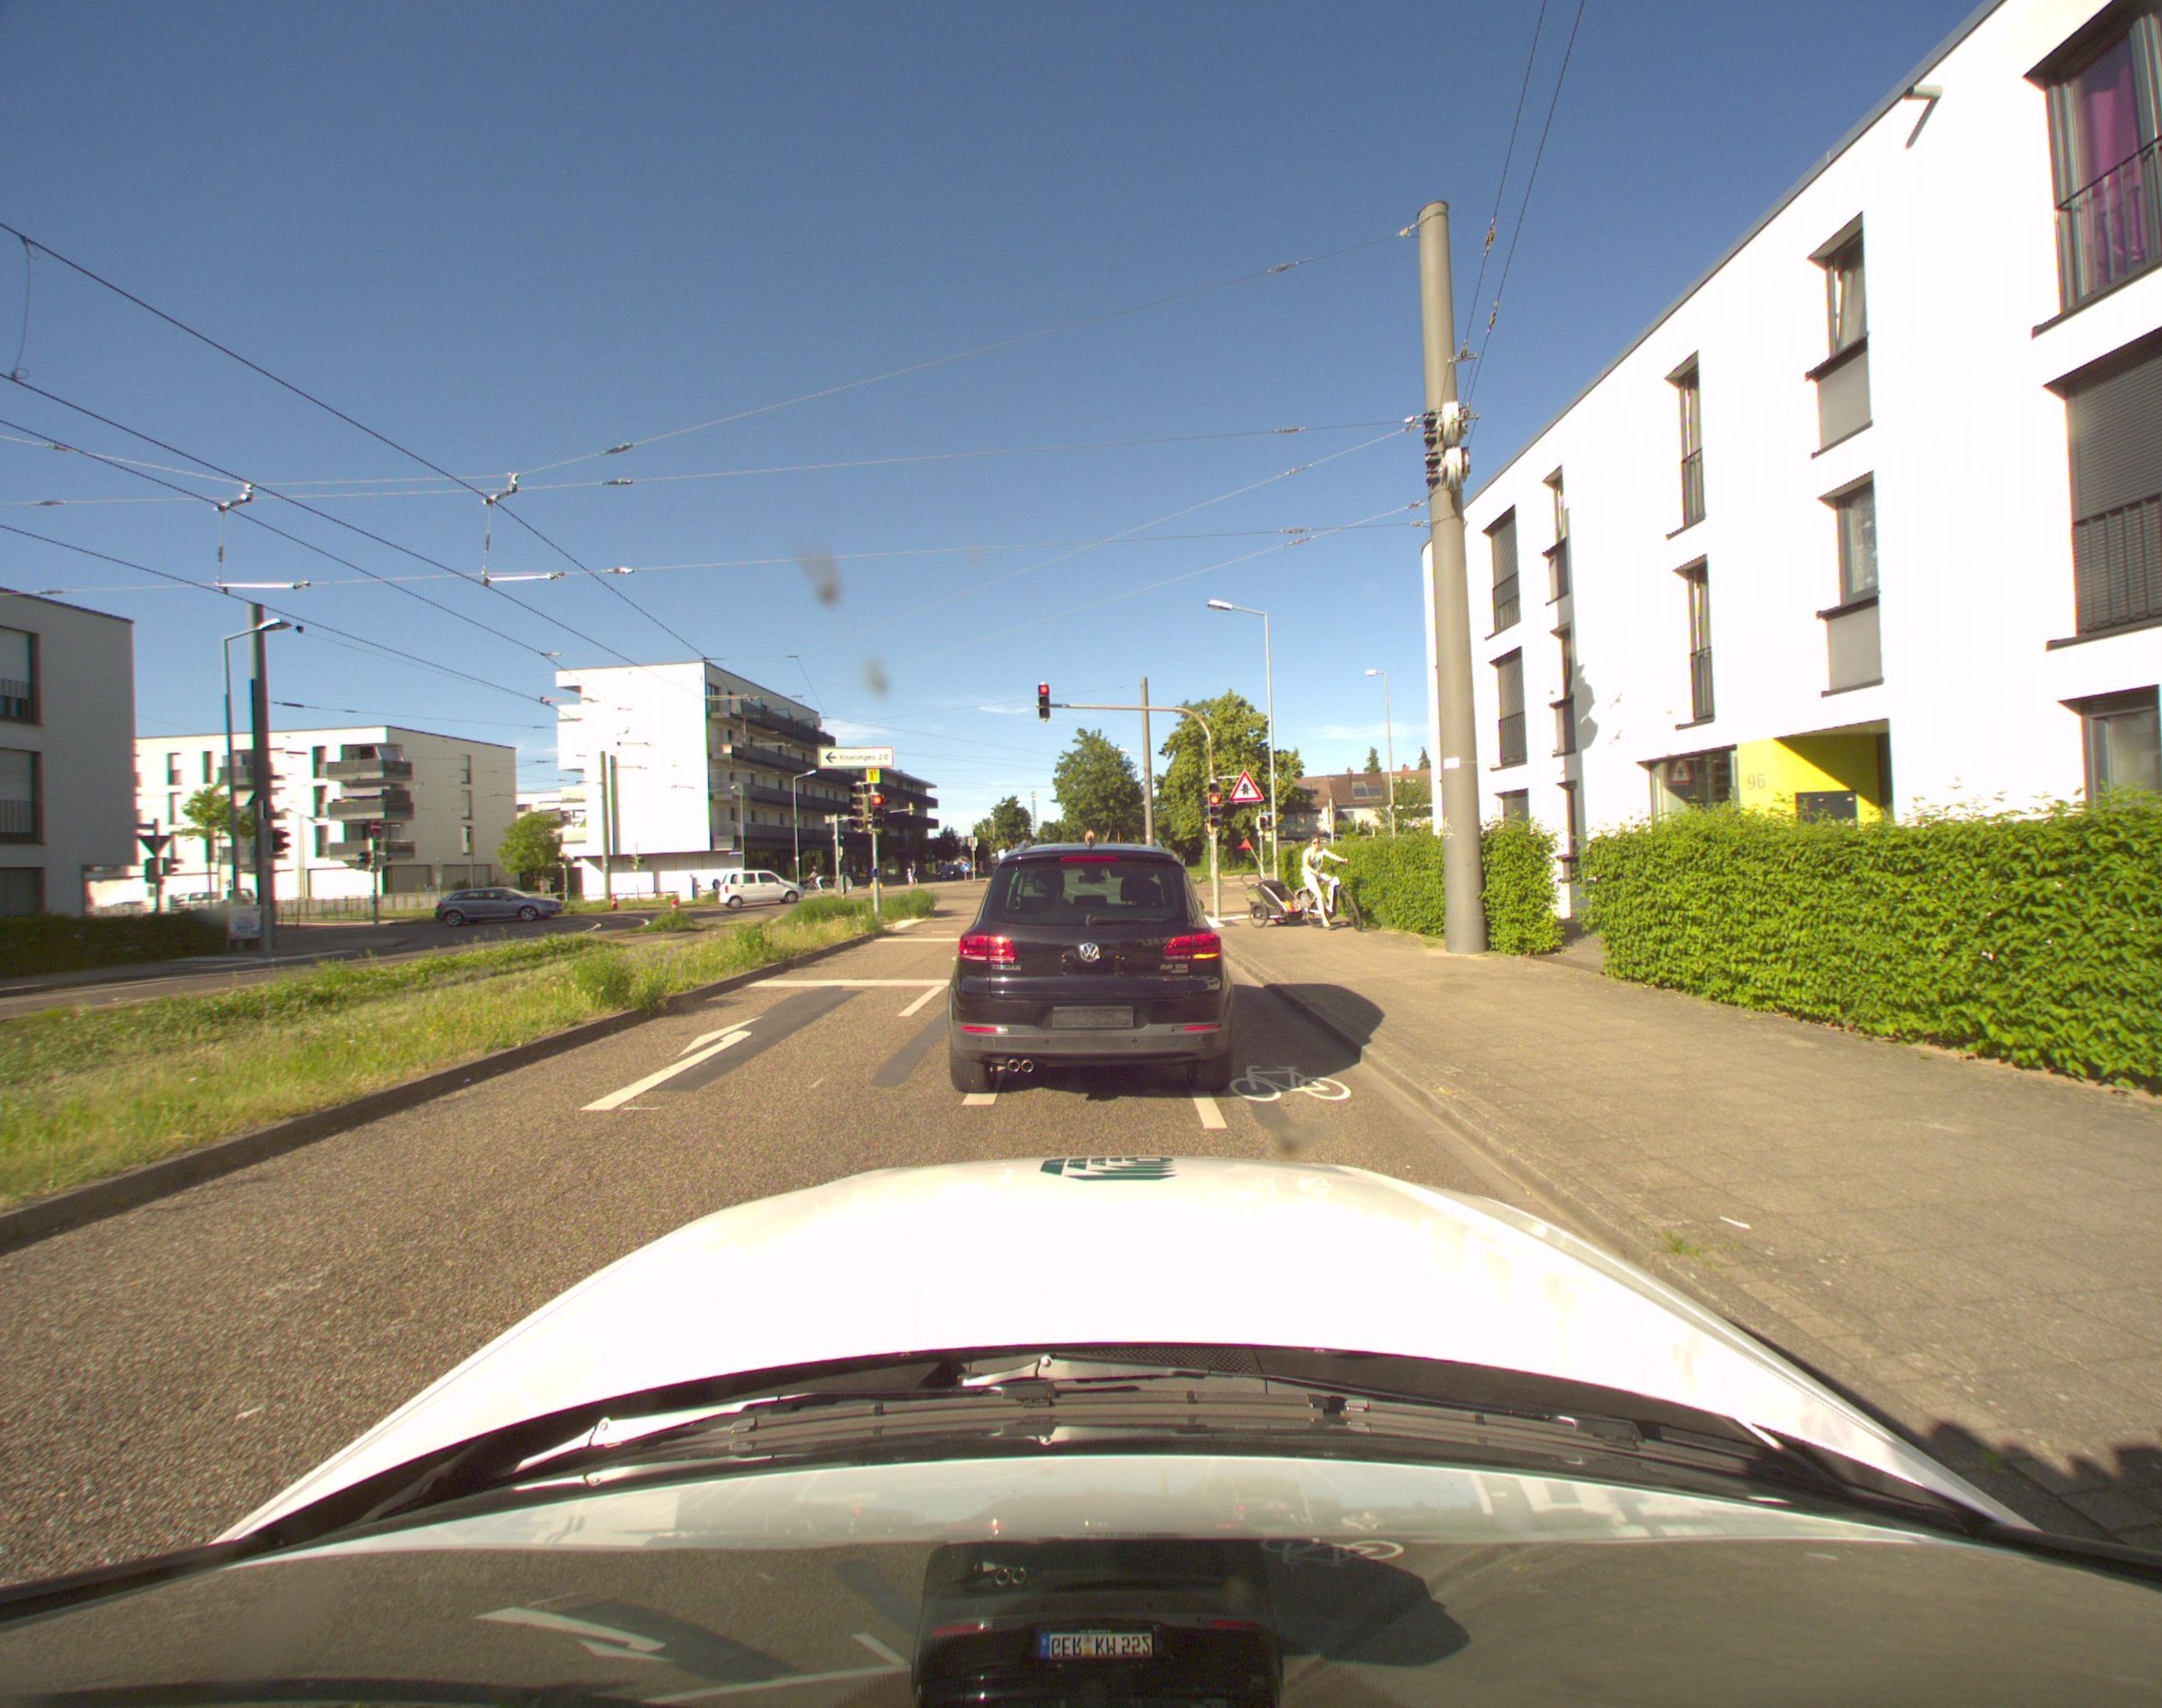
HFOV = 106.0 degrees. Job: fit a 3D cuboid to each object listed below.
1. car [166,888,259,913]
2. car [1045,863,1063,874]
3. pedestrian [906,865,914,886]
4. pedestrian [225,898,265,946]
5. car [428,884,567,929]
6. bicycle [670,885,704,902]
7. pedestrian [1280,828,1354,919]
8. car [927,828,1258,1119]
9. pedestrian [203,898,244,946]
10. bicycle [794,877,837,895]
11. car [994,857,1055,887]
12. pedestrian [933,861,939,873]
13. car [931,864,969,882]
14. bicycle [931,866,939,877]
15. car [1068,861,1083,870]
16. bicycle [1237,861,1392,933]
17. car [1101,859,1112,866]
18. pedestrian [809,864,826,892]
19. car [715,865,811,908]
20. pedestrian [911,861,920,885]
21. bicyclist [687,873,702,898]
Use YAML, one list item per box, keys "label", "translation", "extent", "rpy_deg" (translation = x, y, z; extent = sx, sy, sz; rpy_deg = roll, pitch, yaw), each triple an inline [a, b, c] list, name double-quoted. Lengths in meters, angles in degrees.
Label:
- label: "car"
  translation: [-58.849, 3.162, 55.227]
  extent: [4.305, 1.574, 2.002]
  rpy_deg: [0, -1, 4]
- label: "car"
  translation: [-4.025, 2.204, 122.258]
  extent: [1.981, 1.574, 4.350]
  rpy_deg: [-1, -1, 9]
- label: "pedestrian"
  translation: [-12.524, 1.555, 59.697]
  extent: [0.440, 1.503, 0.517]
  rpy_deg: [0, -1, -4]
- label: "pedestrian"
  translation: [-29.683, 2.396, 28.915]
  extent: [0.775, 1.605, 0.736]
  rpy_deg: [0, -1, -26]
- label: "car"
  translation: [-23.388, 2.059, 32.823]
  extent: [4.106, 1.485, 1.859]
  rpy_deg: [-2, 0, -17]
- label: "bicycle"
  translation: [-26.431, 2.659, 54.639]
  extent: [1.851, 1.124, 0.821]
  rpy_deg: [0, -1, -4]
- label: "pedestrian"
  translation: [4.349, 0.354, 15.043]
  extent: [0.915, 1.594, 0.847]
  rpy_deg: [-2, -1, -26]
- label: "car"
  translation: [0.126, 0.693, 6.610]
  extent: [1.862, 1.637, 4.001]
  rpy_deg: [0, -1, 2]
- label: "pedestrian"
  translation: [-30.428, 2.402, 28.898]
  extent: [0.775, 1.605, 0.736]
  rpy_deg: [0, -1, -26]
- label: "bicycle"
  translation: [-16.630, 2.017, 50.988]
  extent: [2.403, 1.002, 0.640]
  rpy_deg: [-3, -1, -2]
- label: "car"
  translation: [-3.393, 1.049, 48.461]
  extent: [2.007, 1.684, 3.960]
  rpy_deg: [0, -1, -32]
- label: "pedestrian"
  translation: [-19.030, 1.677, 106.768]
  extent: [0.640, 1.509, 0.596]
  rpy_deg: [0, -1, 2]
- label: "car"
  translation: [-11.961, 1.693, 74.693]
  extent: [1.980, 1.574, 4.353]
  rpy_deg: [-1, -1, 11]
- label: "bicycle"
  translation: [-19.040, 2.301, 106.547]
  extent: [0.628, 1.332, 1.913]
  rpy_deg: [0, -1, 2]
- label: "car"
  translation: [-0.993, 2.066, 147.248]
  extent: [1.981, 1.574, 4.350]
  rpy_deg: [-1, -1, 9]
- label: "bicycle"
  translation: [4.262, 0.768, 15.281]
  extent: [0.933, 1.173, 3.098]
  rpy_deg: [-2, -1, -26]
- label: "car"
  translation: [5.802, 1.985, 185.804]
  extent: [1.981, 1.574, 4.350]
  rpy_deg: [-1, -1, 9]
- label: "pedestrian"
  translation: [-16.521, 1.498, 51.004]
  extent: [0.810, 1.692, 0.620]
  rpy_deg: [-3, -1, -1]
- label: "car"
  translation: [-14.350, 1.423, 36.750]
  extent: [3.700, 1.720, 1.850]
  rpy_deg: [-2, 0, -33]
- label: "pedestrian"
  translation: [-12.252, 1.427, 60.328]
  extent: [0.542, 1.744, 0.517]
  rpy_deg: [0, -1, -4]
- label: "bicyclist"
  translation: [-25.942, 2.123, 54.683]
  extent: [0.637, 1.614, 0.784]
  rpy_deg: [0, -1, -4]
